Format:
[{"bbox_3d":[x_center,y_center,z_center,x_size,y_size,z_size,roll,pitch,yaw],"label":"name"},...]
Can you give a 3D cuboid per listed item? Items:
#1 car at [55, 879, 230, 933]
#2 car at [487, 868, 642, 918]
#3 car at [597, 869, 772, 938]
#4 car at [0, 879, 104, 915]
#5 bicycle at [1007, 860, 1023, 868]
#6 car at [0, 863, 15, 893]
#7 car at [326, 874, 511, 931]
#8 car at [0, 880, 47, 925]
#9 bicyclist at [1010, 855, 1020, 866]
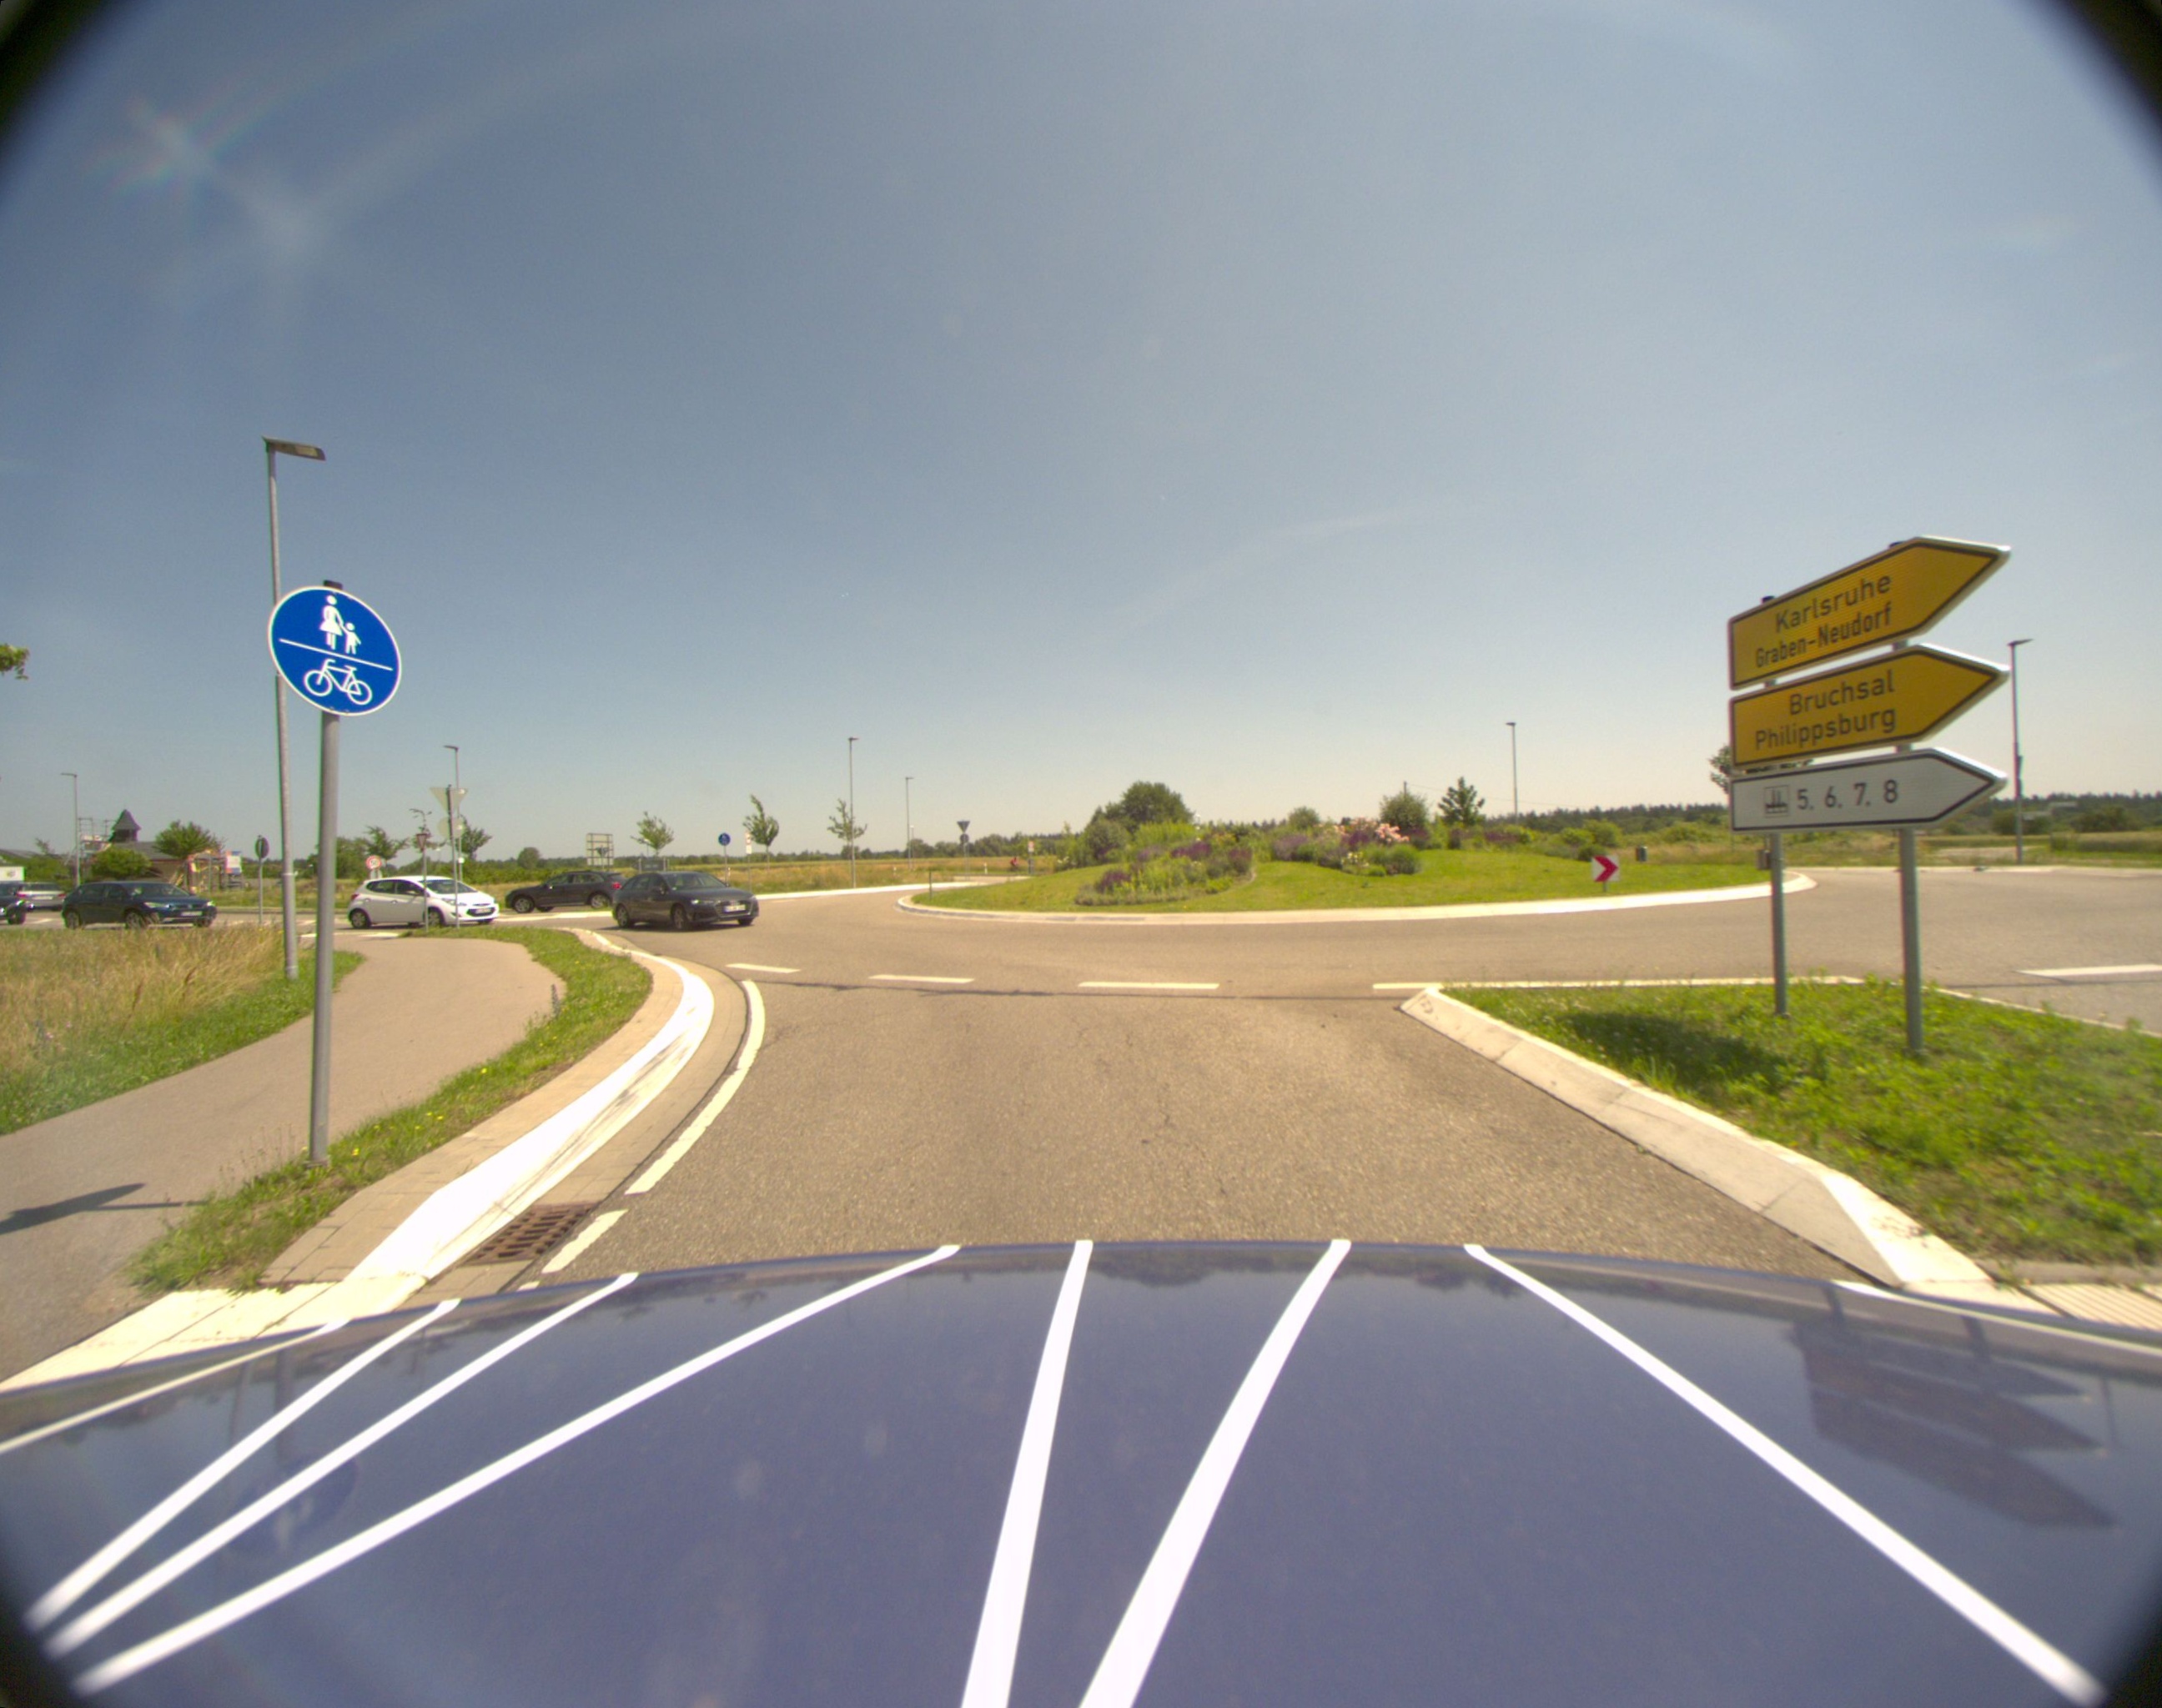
[{"bbox_3d":[-31.305,1.718,25.398,4.145,1.553,1.723,-2,1,8],"label":"car"},{"bbox_3d":[-21.393,1.575,31.690,4.892,1.640,1.951,-3,1,-16],"label":"car"},{"bbox_3d":[-10.038,1.163,19.147,4.508,1.426,1.872,-1,3,33],"label":"car"},{"bbox_3d":[-51.311,2.147,37.847,3.992,1.607,1.901,-2,0,17],"label":"car"},{"bbox_3d":[-6.535,1.011,75.100,1.466,0.725,0.580,-2,0,35],"label":"bicycle"},{"bbox_3d":[-94.503,2.097,63.325,6.145,2.568,2.351,-2,0,-28],"label":"car"},{"bbox_3d":[-20.735,1.513,23.867,4.514,1.553,1.870,-2,1,10],"label":"car"},{"bbox_3d":[-41.197,1.833,28.200,4.715,1.553,1.871,-2,1,18],"label":"car"},{"bbox_3d":[-6.526,0.664,75.099,0.722,1.072,0.580,-1,0,35],"label":"bicyclist"}]
